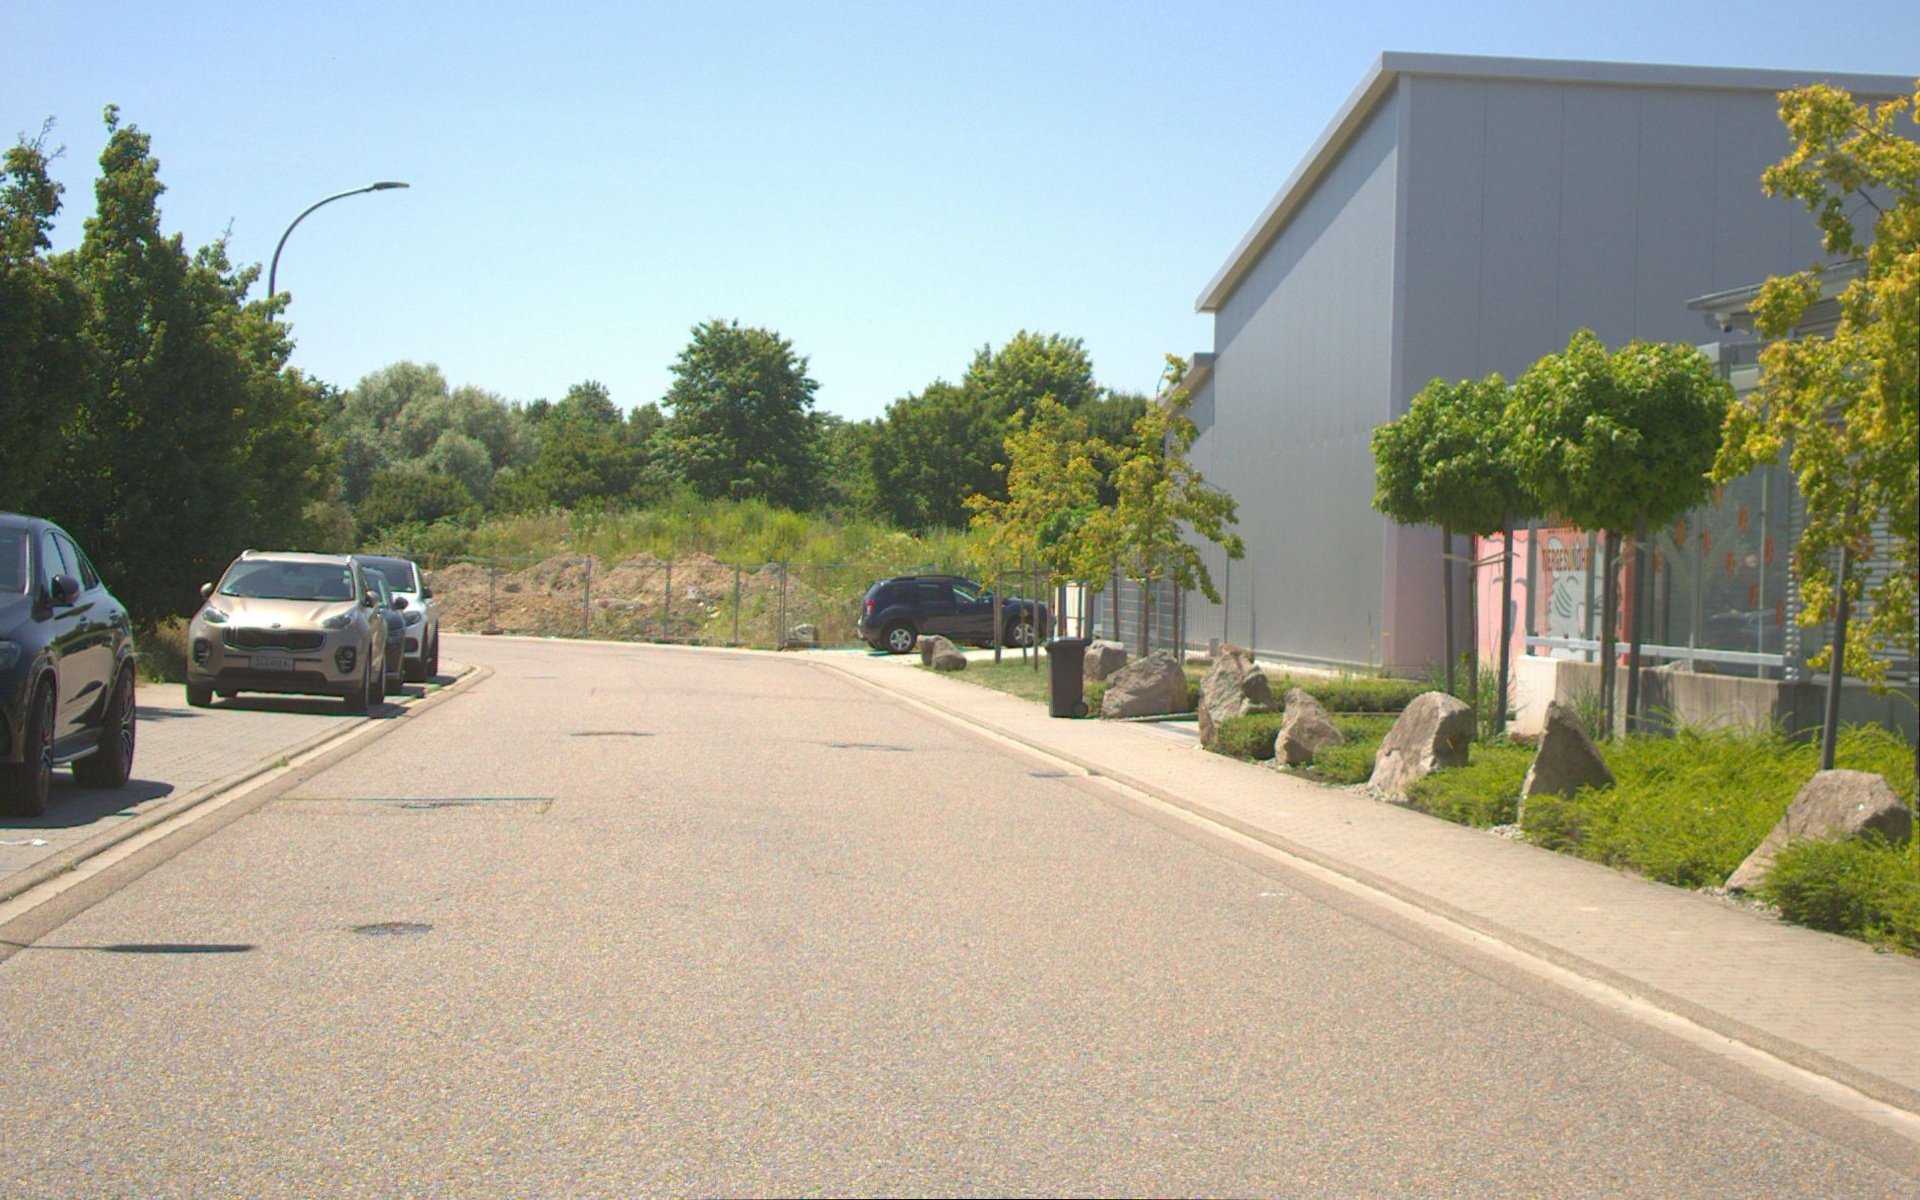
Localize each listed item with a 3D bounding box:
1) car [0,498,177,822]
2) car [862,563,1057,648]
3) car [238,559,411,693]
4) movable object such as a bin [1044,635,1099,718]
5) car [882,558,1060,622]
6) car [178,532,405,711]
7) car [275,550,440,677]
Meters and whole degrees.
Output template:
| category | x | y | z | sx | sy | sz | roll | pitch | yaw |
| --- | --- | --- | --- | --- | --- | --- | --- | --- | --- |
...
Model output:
| category | x | y | z | sx | sy | sz | roll | pitch | yaw |
| --- | --- | --- | --- | --- | --- | --- | --- | --- | --- |
| car | -6.091 | 0.236 | 20.611 | 1.991 | 1.707 | 5.008 | 3 | 0 | -5 |
| car | -0.029 | 0.115 | 74.851 | 4.009 | 1.650 | 1.858 | -3 | 1 | -6 |
| car | -8.013 | 0.291 | 43.665 | 1.912 | 1.486 | 4.414 | 3 | 0 | -8 |
| movable object such as a bin | 1.296 | 0.893 | 40.017 | 0.558 | 0.943 | 0.539 | 1 | 0 | -7 |
| car | 0.245 | -0.238 | 81.164 | 4.009 | 1.457 | 1.893 | -1 | 1 | -6 |
| car | -7.137 | 0.193 | 37.083 | 1.912 | 1.707 | 4.414 | 3 | 0 | -6 |
| car | -8.549 | 0.156 | 49.100 | 1.912 | 1.650 | 4.755 | 2 | 1 | -6 |
